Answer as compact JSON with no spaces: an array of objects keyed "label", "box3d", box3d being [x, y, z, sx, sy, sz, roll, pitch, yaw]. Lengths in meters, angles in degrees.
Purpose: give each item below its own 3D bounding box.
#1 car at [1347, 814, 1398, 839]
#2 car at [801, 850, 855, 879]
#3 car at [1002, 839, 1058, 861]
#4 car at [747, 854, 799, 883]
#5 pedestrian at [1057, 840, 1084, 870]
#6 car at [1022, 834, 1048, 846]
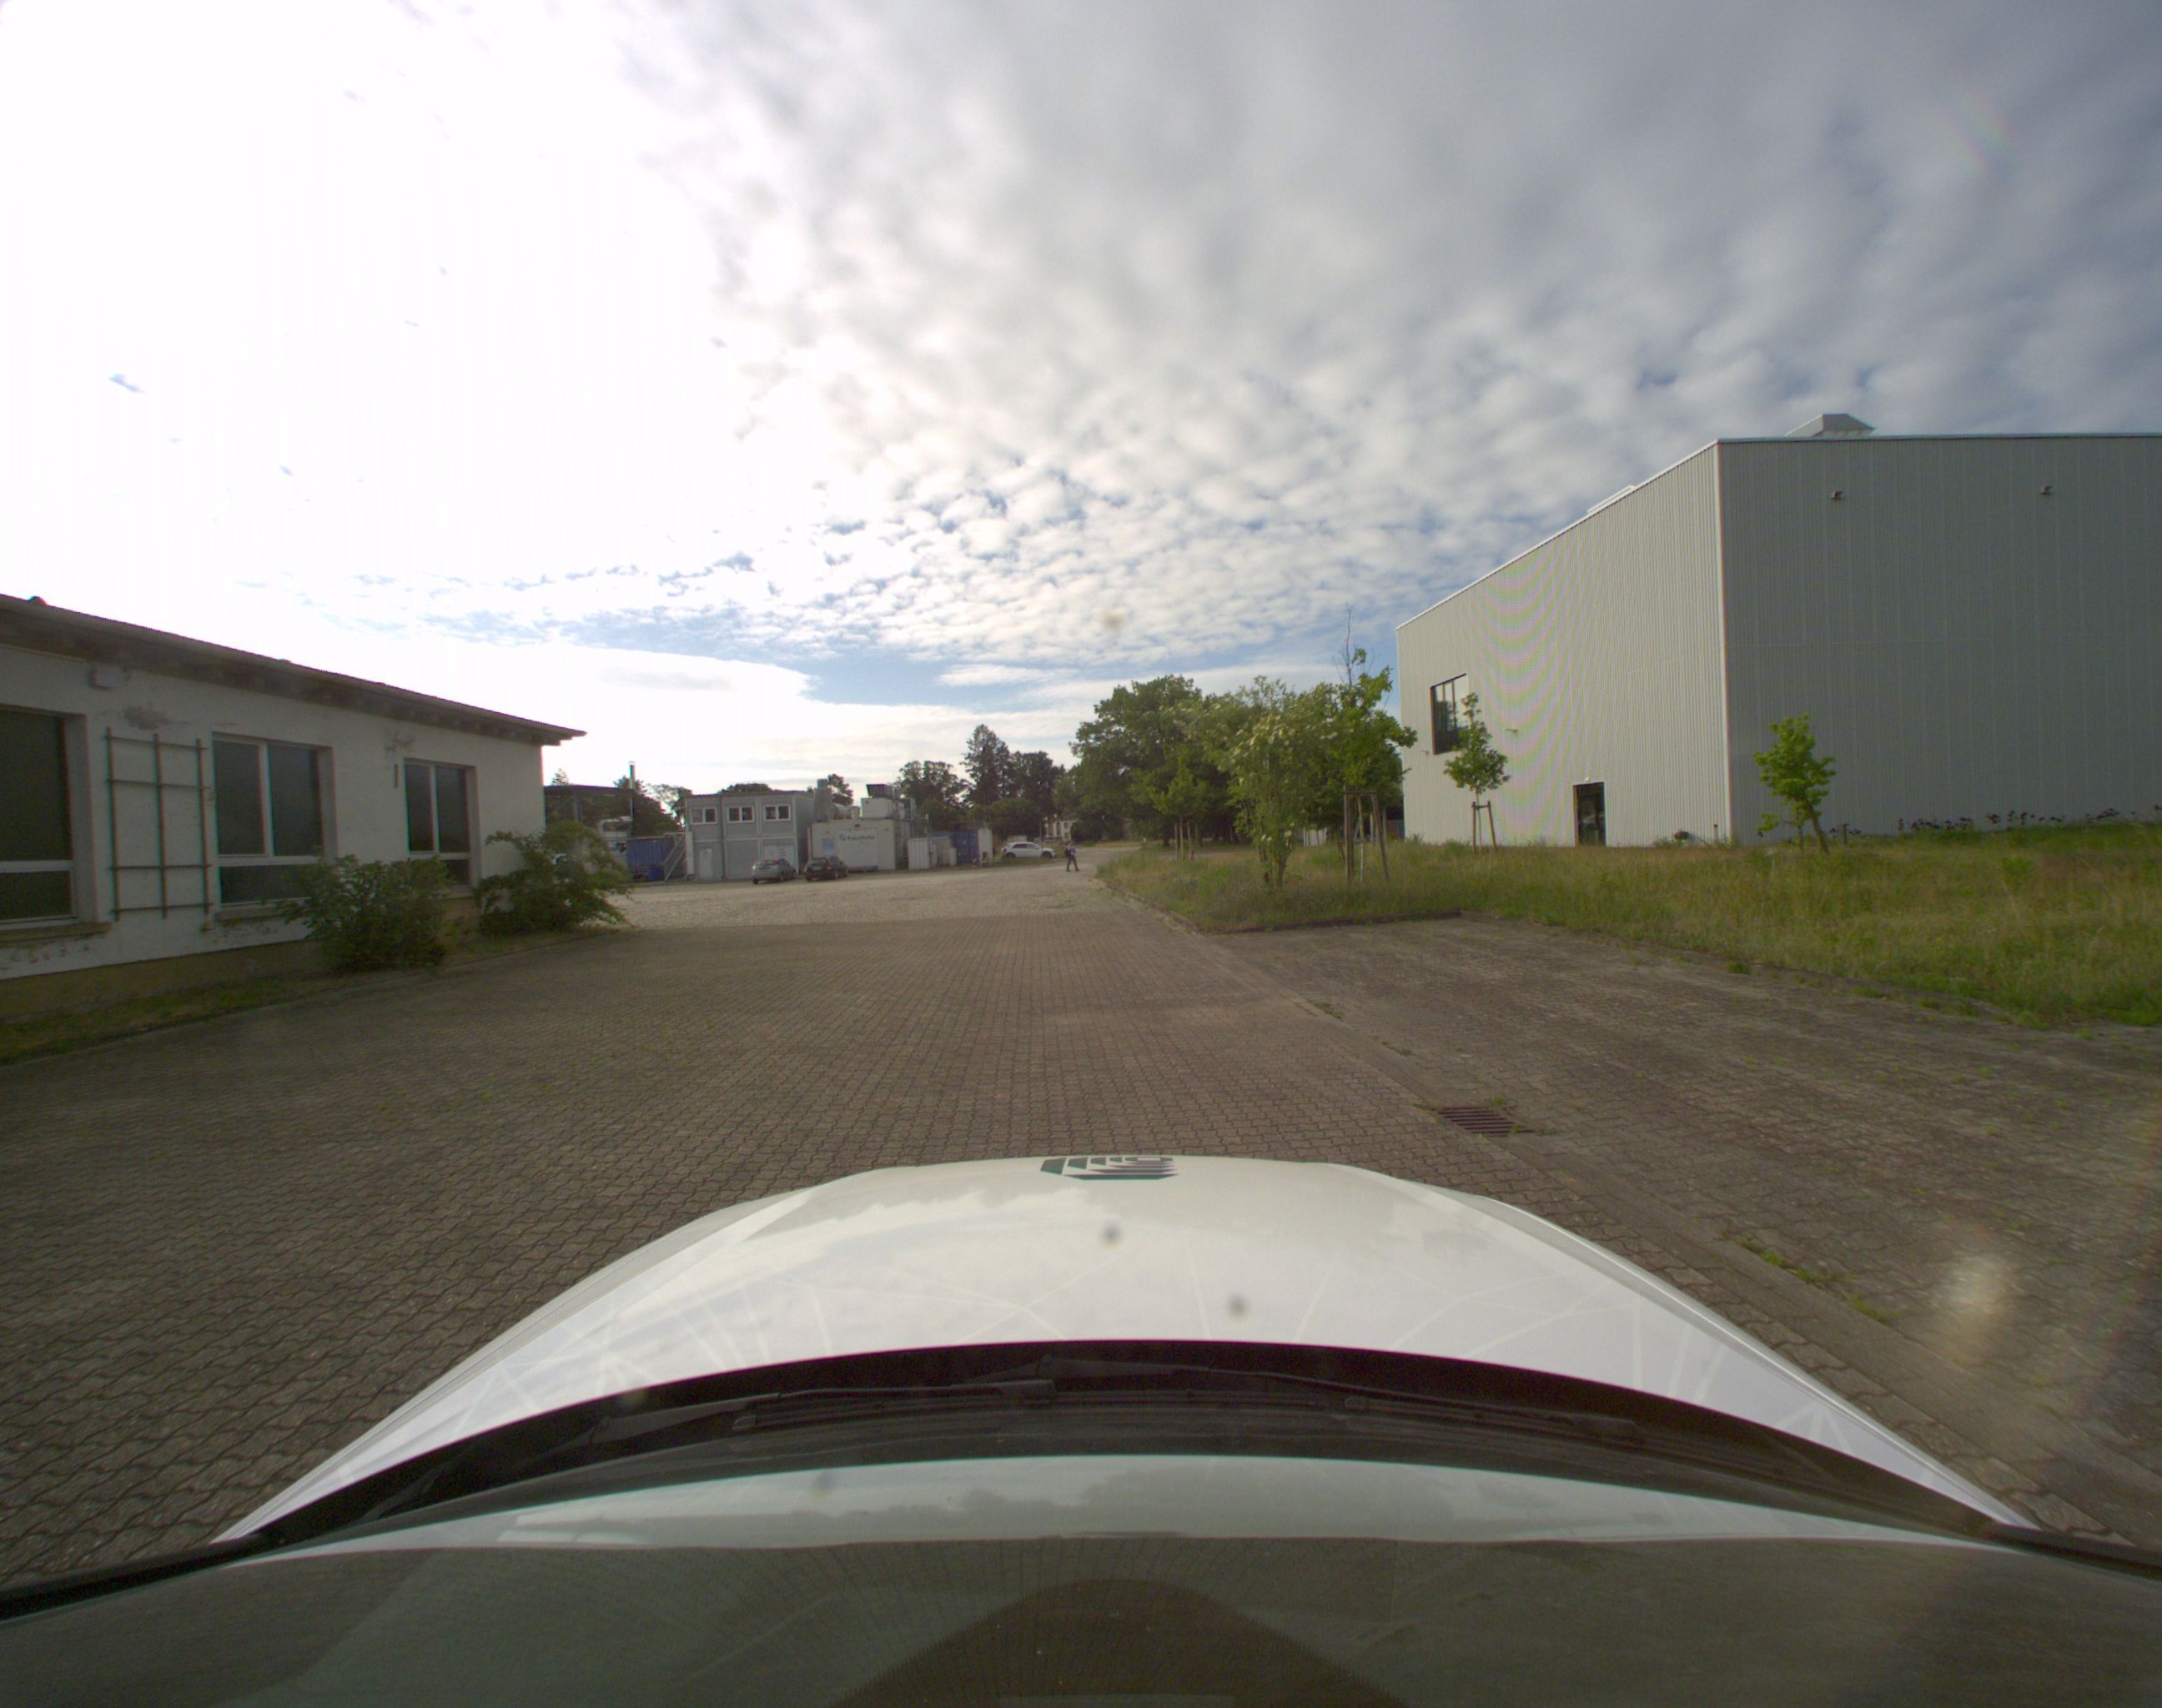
[{"label":"car","box3d":[25.935,-2.371,72.573,2.237,2.013,5.329,-3,1,-4]},{"label":"car","box3d":[-15.430,0.607,50.007,2.032,1.453,4.525,-3,3,-3]},{"label":"car","box3d":[-4.203,-0.365,67.807,4.521,1.599,1.999,-3,1,-1]},{"label":"car","box3d":[-18.773,0.829,49.801,1.903,1.475,4.040,-3,2,-5]},{"label":"pedestrian","box3d":[-0.552,0.044,44.416,1.066,1.556,1.081,-3,1,20]},{"label":"car","box3d":[-9.501,-2.882,169.132,5.160,2.337,1.998,-3,1,-4]}]
